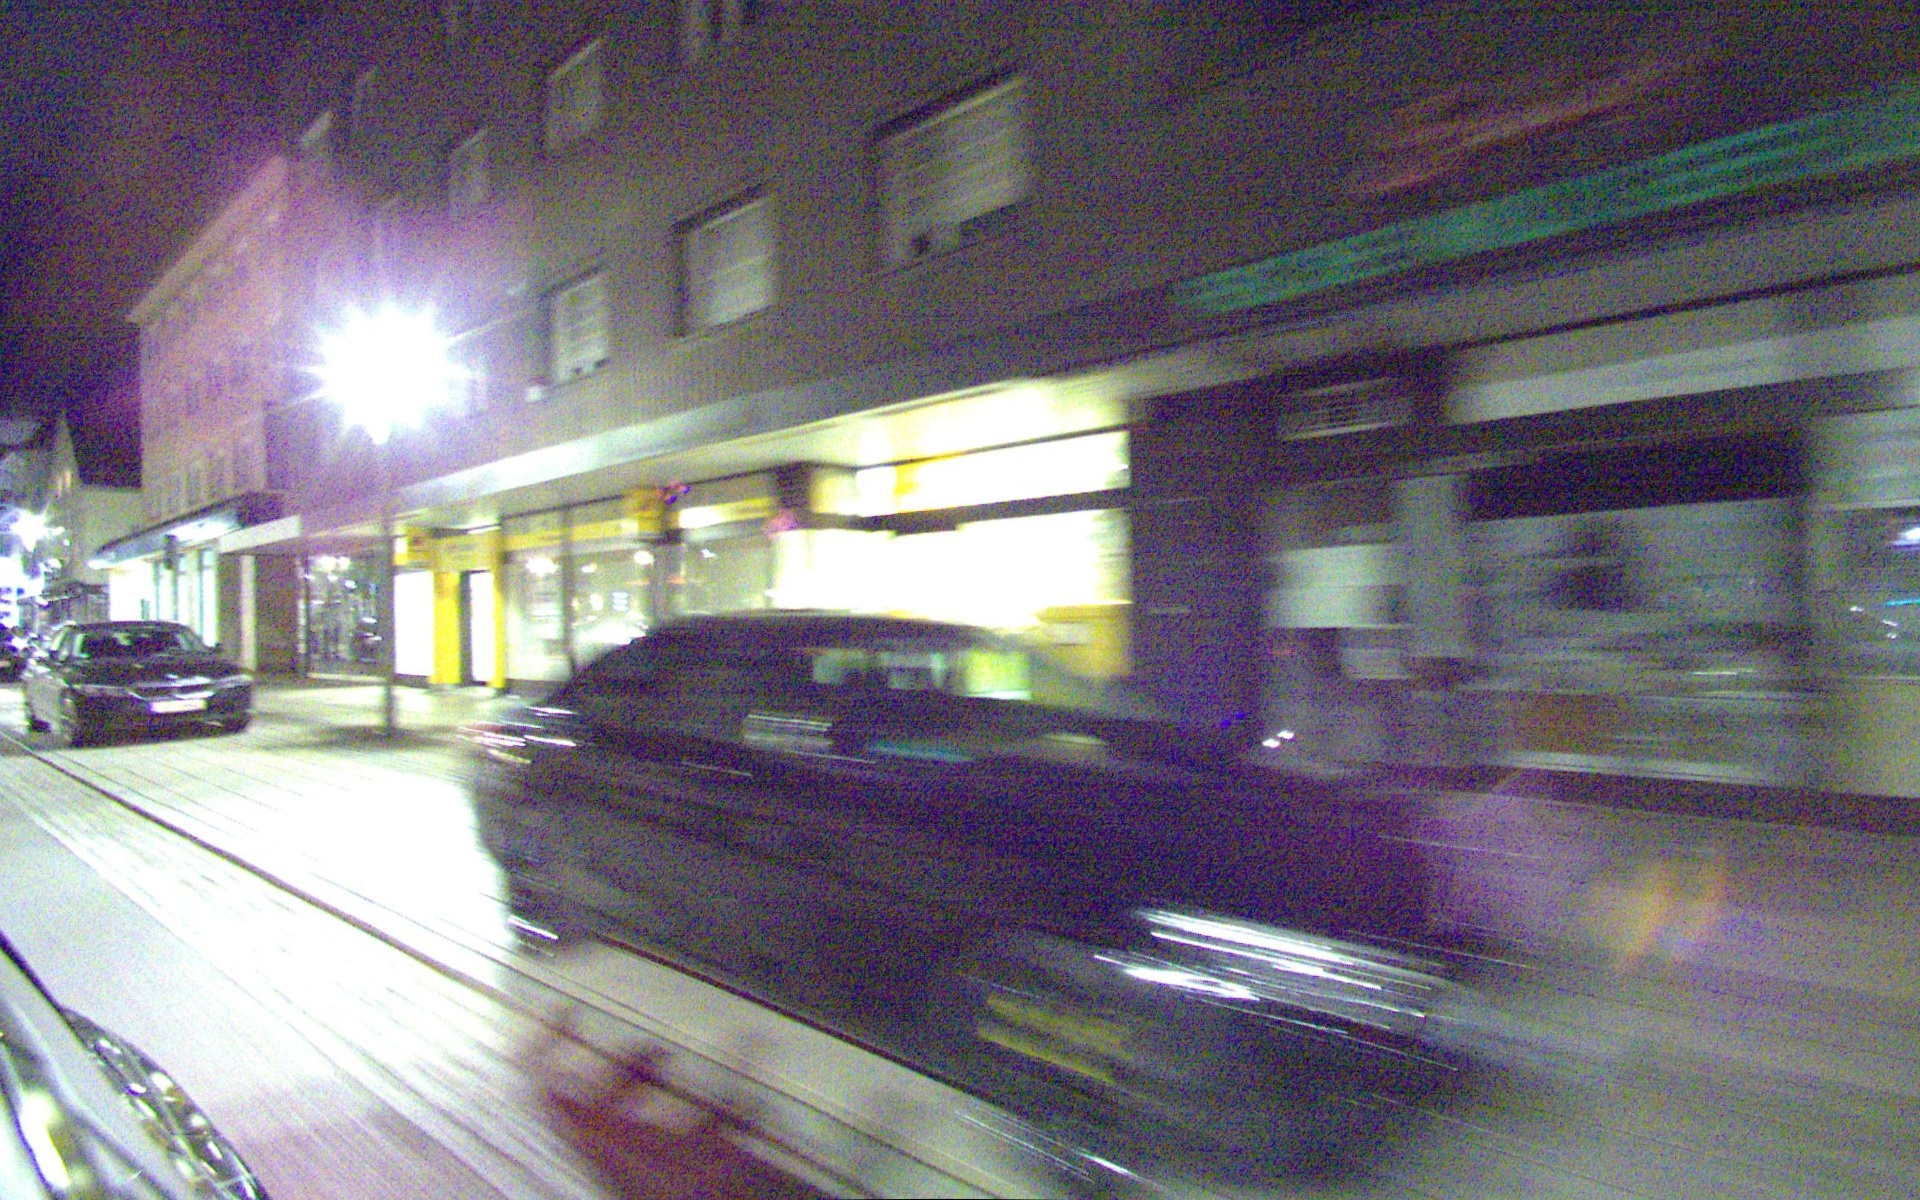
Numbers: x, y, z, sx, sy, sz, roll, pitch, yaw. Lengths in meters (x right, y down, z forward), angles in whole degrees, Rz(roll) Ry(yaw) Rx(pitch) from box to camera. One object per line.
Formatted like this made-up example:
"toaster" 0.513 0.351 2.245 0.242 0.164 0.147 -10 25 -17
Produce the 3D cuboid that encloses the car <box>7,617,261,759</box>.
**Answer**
"car" -10.823 1.008 13.145 4.318 1.489 1.779 -1 0 40

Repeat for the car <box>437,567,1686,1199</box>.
"car" -0.133 0.692 3.717 4.383 1.423 1.699 -2 0 42

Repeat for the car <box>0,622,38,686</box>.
"car" -24.439 1.341 24.980 4.618 1.475 1.827 -2 0 39
